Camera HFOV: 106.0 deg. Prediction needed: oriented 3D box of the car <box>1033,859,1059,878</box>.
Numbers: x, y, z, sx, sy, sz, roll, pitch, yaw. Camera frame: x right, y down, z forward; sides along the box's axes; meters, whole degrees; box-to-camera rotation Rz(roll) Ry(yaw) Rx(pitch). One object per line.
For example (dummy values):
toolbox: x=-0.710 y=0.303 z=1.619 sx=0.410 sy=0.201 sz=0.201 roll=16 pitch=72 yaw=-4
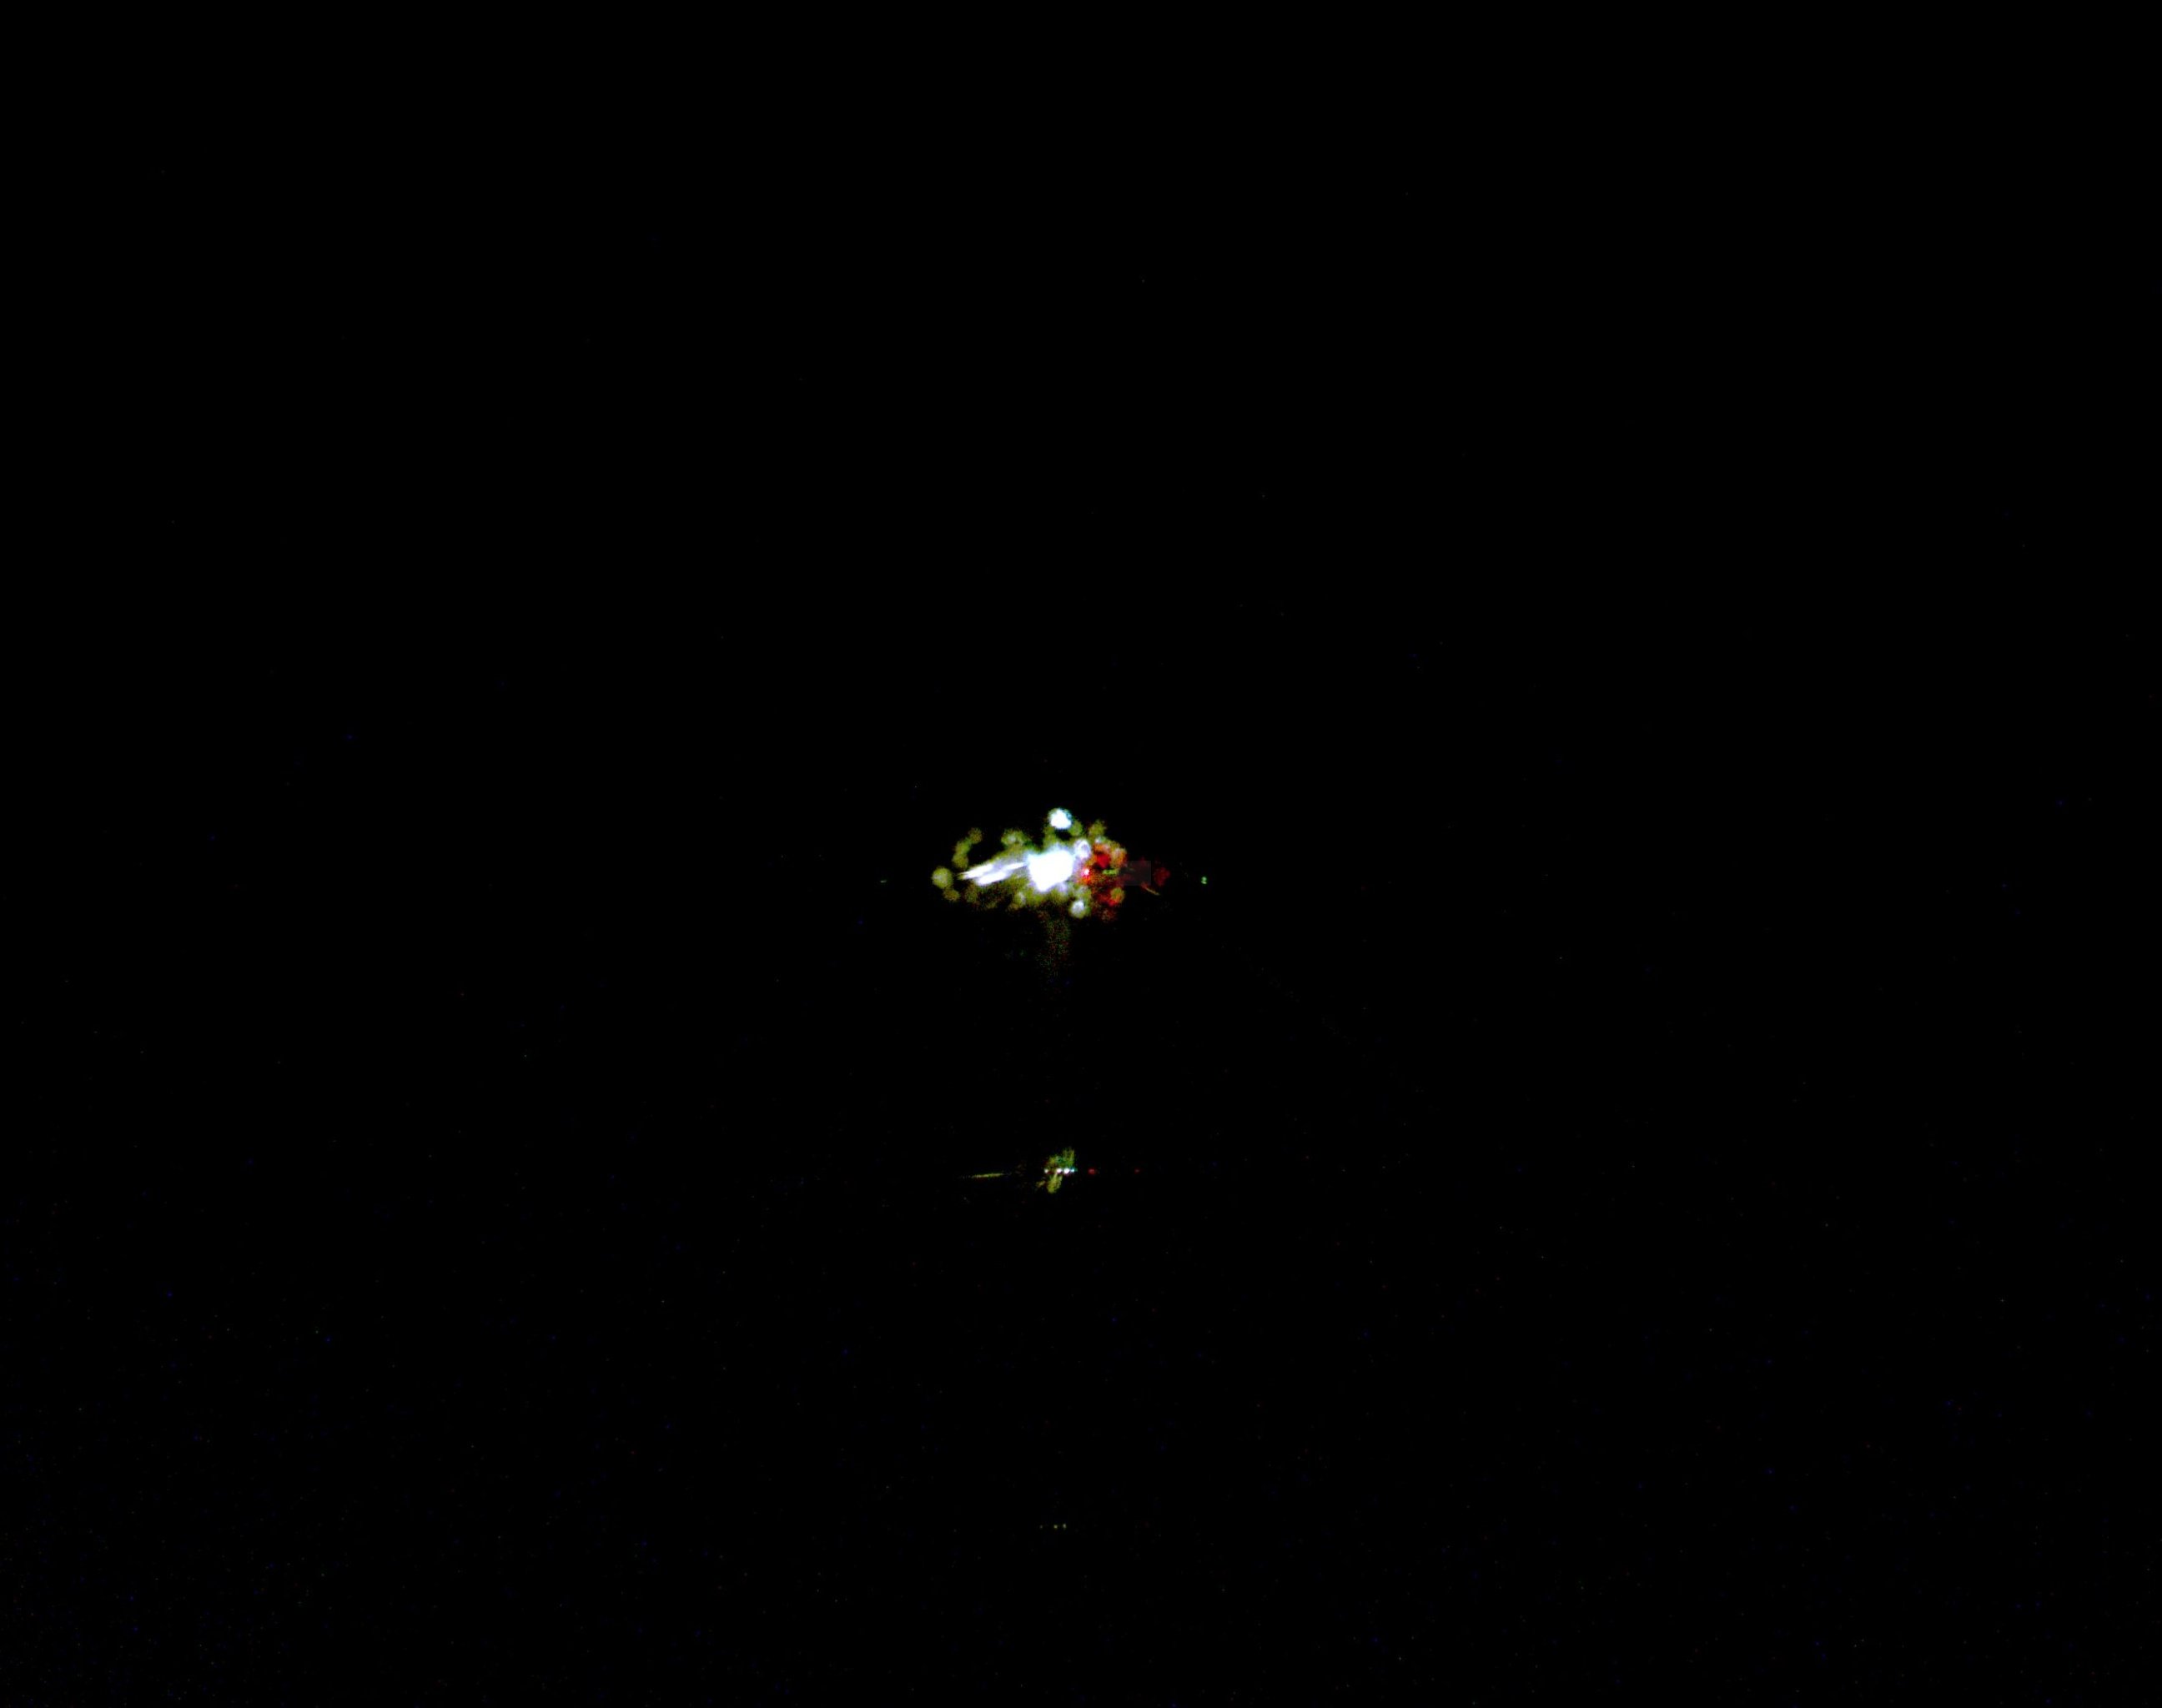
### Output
car: x=-2.799 y=1.158 z=66.164 sx=1.837 sy=1.505 sz=3.710 roll=0 pitch=-1 yaw=1

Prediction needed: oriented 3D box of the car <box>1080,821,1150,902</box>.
car: x=1.165 y=0.189 z=28.660 sx=2.173 sy=2.557 sz=4.510 roll=2 pitch=1 yaw=1

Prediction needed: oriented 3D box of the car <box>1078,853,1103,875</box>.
car: x=0.692 y=0.694 z=56.891 sx=1.701 sy=1.505 sz=3.606 roll=0 pitch=-1 yaw=1
